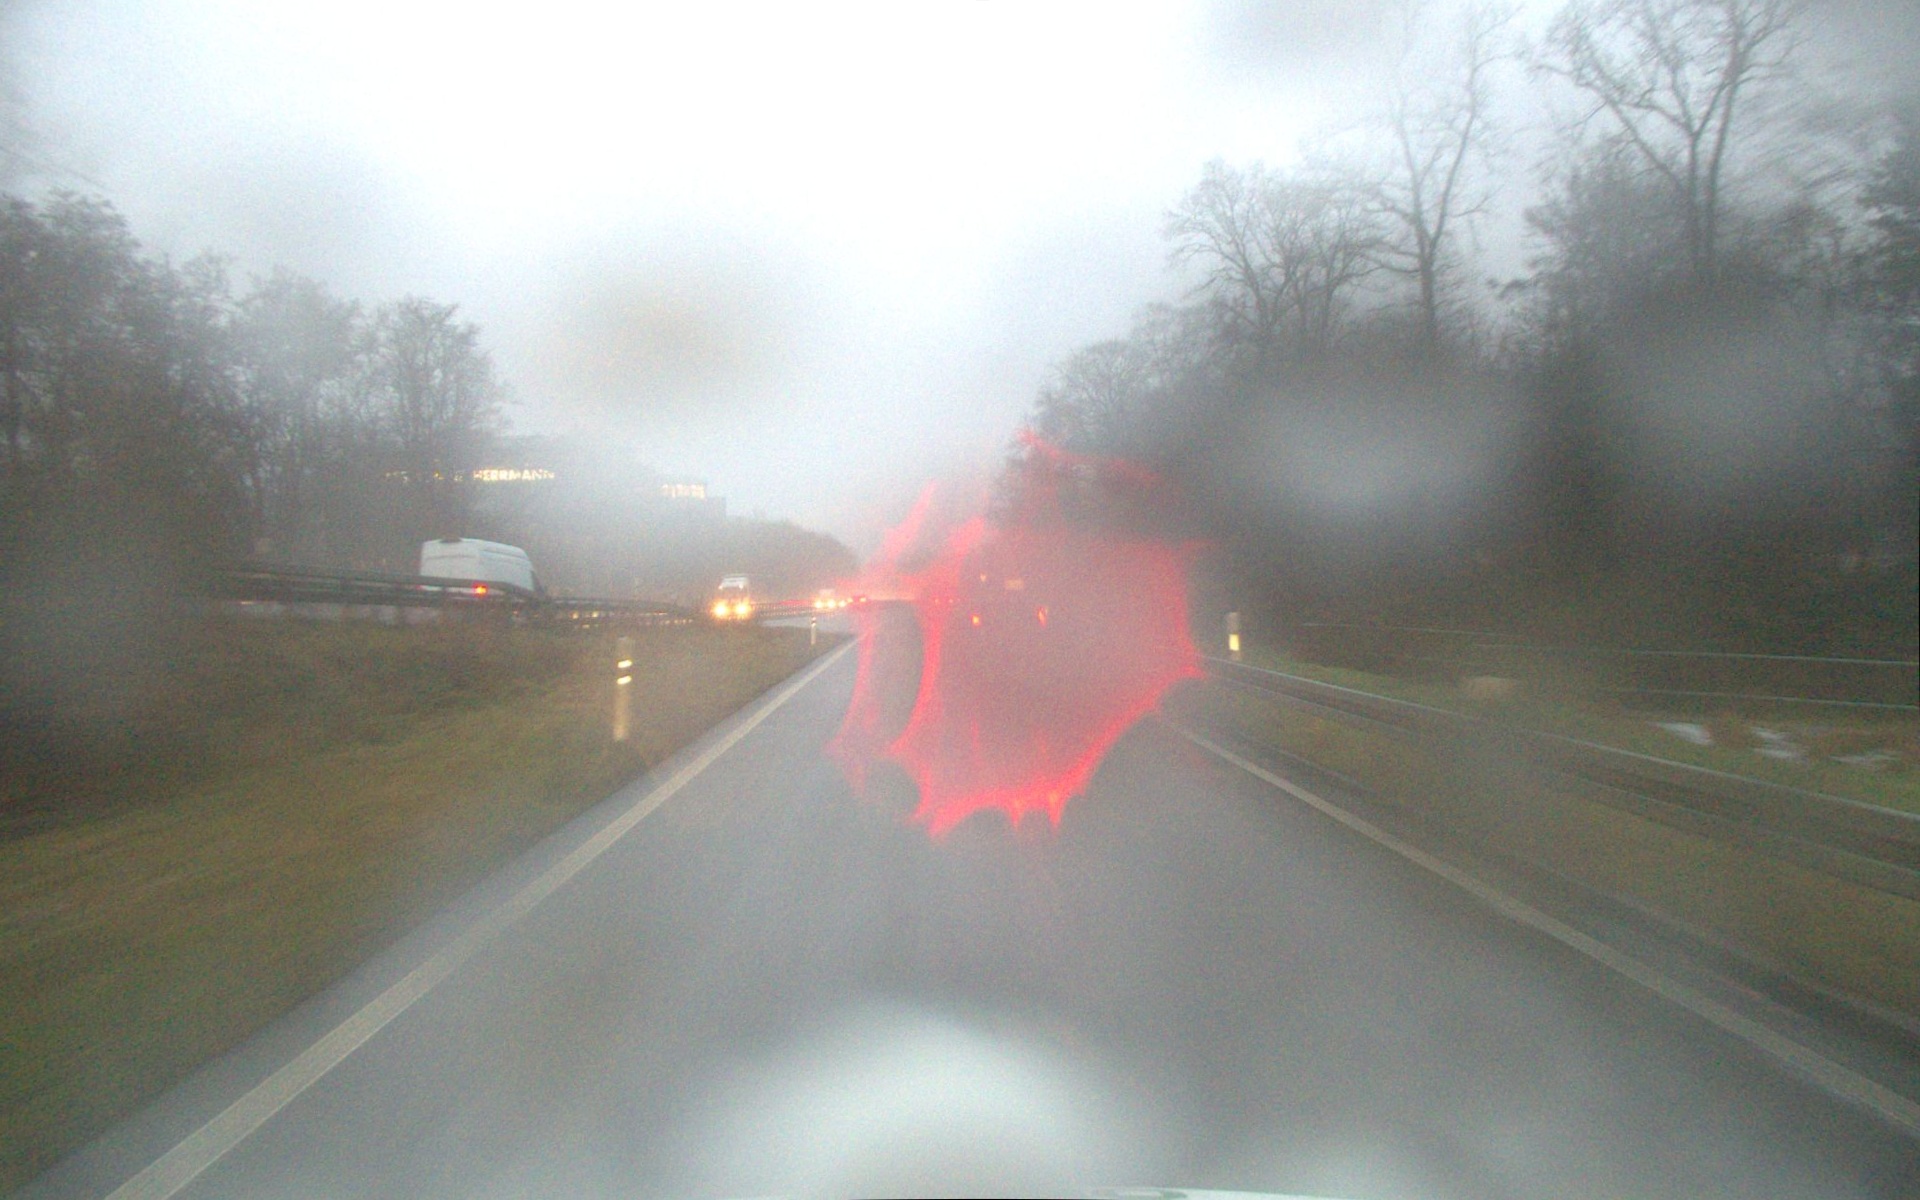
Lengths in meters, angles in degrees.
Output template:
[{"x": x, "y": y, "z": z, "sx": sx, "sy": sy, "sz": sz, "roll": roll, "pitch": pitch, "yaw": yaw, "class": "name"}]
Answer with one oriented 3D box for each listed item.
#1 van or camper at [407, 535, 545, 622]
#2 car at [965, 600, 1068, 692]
[{"x": -14.412, "y": -0.611, "z": 49.638, "sx": 2.220, "sy": 2.455, "sz": 5.582, "roll": 0, "pitch": 0, "yaw": 3, "class": "van or camper"}, {"x": 0.983, "y": 0.788, "z": 30.460, "sx": 1.697, "sy": 1.454, "sz": 3.765, "roll": 4, "pitch": 0, "yaw": 0, "class": "car"}]
